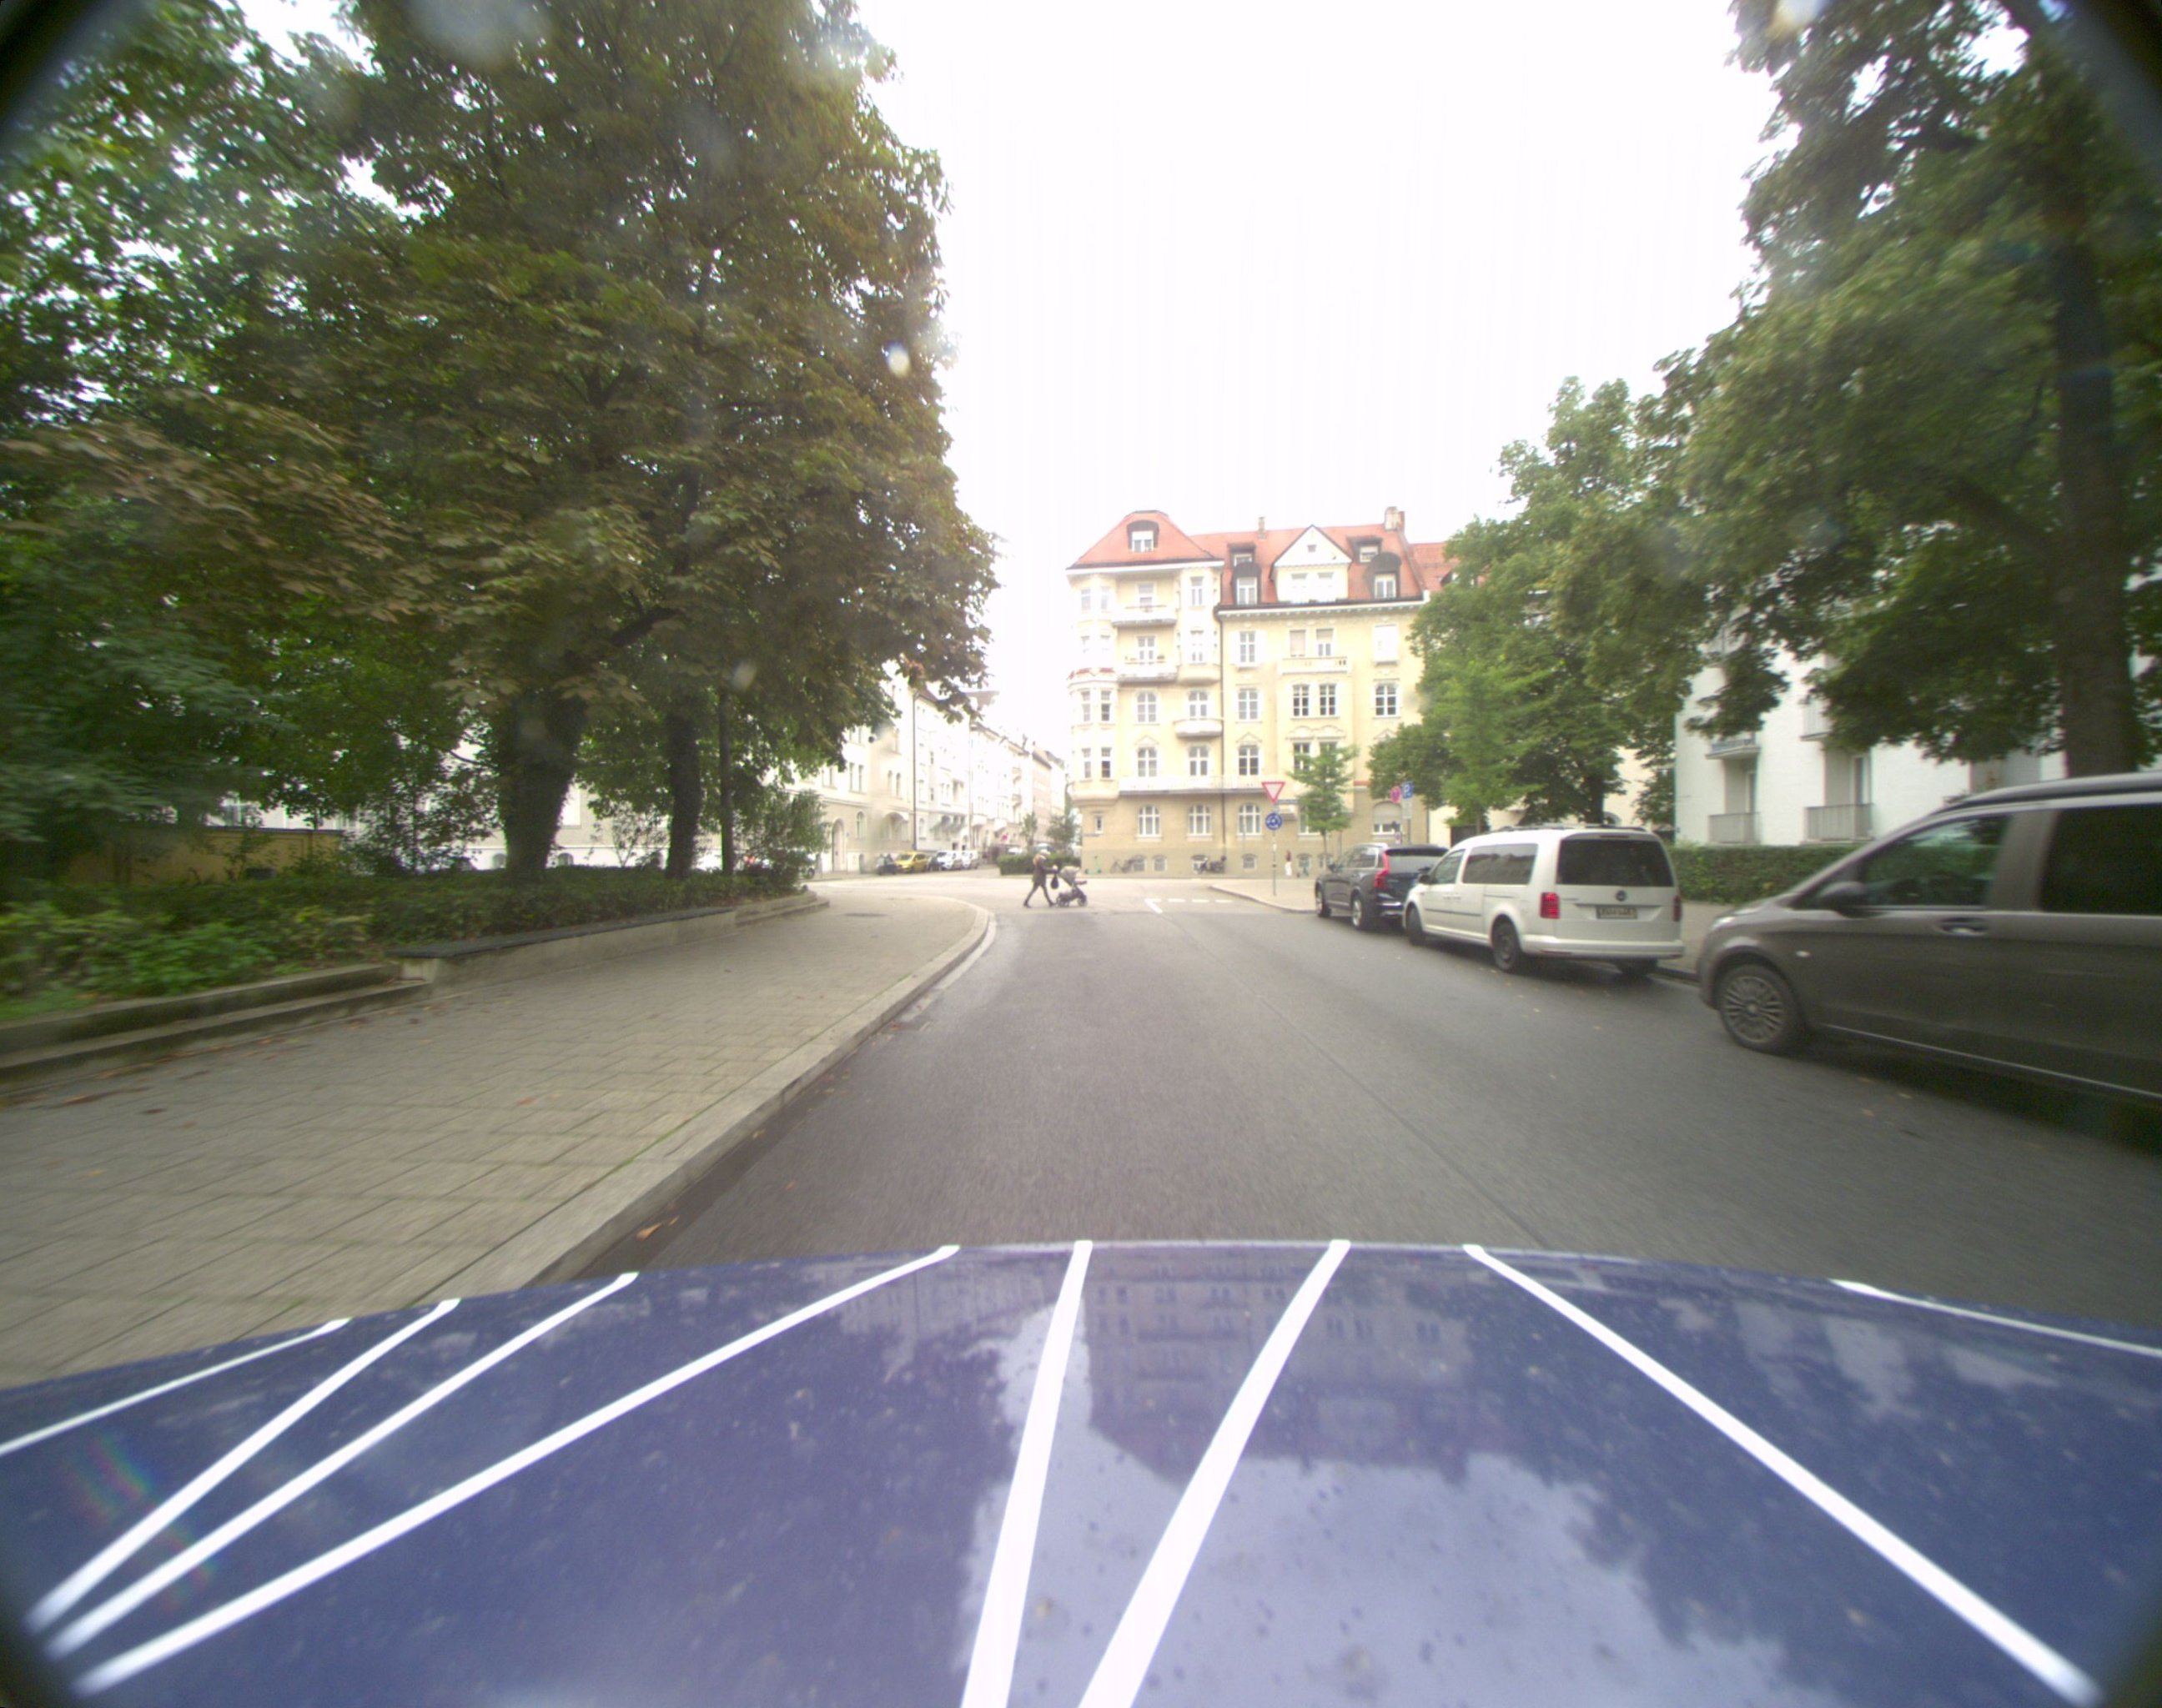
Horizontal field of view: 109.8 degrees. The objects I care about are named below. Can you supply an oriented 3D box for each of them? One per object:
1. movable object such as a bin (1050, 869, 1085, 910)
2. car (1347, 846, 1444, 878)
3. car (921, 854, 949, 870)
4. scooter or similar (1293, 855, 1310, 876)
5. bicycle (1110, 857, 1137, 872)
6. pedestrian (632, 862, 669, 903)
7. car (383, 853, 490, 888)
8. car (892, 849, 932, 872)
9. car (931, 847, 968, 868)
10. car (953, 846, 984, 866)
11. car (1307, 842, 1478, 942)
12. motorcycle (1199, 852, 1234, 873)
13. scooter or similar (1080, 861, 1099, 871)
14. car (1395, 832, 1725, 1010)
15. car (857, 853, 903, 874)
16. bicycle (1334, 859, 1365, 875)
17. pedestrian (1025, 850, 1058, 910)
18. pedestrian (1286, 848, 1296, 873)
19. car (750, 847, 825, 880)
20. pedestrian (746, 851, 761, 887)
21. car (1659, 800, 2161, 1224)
[{"bbox_3d":[-0.370,0.975,21.198,0.900,1.078,0.777,-1,2,-7],"label":"movable object such as a bin"},{"bbox_3d":[18.896,0.461,45.872,5.023,1.855,2.167,0,2,8],"label":"car"},{"bbox_3d":[-13.367,0.747,69.776,1.440,1.351,3.360,1,2,10],"label":"car"},{"bbox_3d":[13.516,0.702,46.503,1.281,1.223,0.408,-2,2,-42],"label":"scooter or similar"},{"bbox_3d":[2.912,0.723,51.813,1.783,0.986,0.543,0,2,5],"label":"bicycle"},{"bbox_3d":[-12.530,0.813,22.118,0.577,1.170,0.746,0,0,11],"label":"pedestrian"},{"bbox_3d":[-30.996,0.762,36.562,3.993,1.574,1.739,0,2,10],"label":"car"},{"bbox_3d":[-14.203,0.494,64.060,1.793,1.809,4.306,1,2,10],"label":"car"},{"bbox_3d":[-12.898,0.311,74.749,2.156,1.902,4.775,0,2,9],"label":"car"},{"bbox_3d":[-11.964,0.201,81.028,2.051,1.928,4.578,0,2,9],"label":"car"},{"bbox_3d":[6.366,0.642,16.243,1.884,1.758,5.059,0,1,4],"label":"car"},{"bbox_3d":[9.035,0.558,50.720,2.243,1.319,0.824,0,2,6],"label":"motorcycle"},{"bbox_3d":[0.561,0.829,51.819,1.235,0.683,0.316,-1,2,-20],"label":"scooter or similar"},{"bbox_3d":[6.269,0.728,10.810,1.884,1.926,4.834,1,0,4],"label":"car"},{"bbox_3d":[-15.450,0.716,58.534,1.948,1.412,3.821,1,2,10],"label":"car"},{"bbox_3d":[16.848,0.823,47.664,1.808,0.952,0.468,0,2,11],"label":"bicycle"},{"bbox_3d":[-1.085,0.712,21.014,0.863,1.610,0.593,-1,2,-7],"label":"pedestrian"},{"bbox_3d":[13.721,0.417,49.680,0.606,1.655,0.463,0,2,13],"label":"pedestrian"},{"bbox_3d":[-17.792,0.533,46.396,1.948,1.923,4.977,1,1,10],"label":"car"},{"bbox_3d":[-16.225,0.742,37.648,0.404,1.758,0.571,0,1,18],"label":"pedestrian"},{"bbox_3d":[5.959,0.738,3.775,1.950,1.952,5.459,1,0,0],"label":"car"}]
